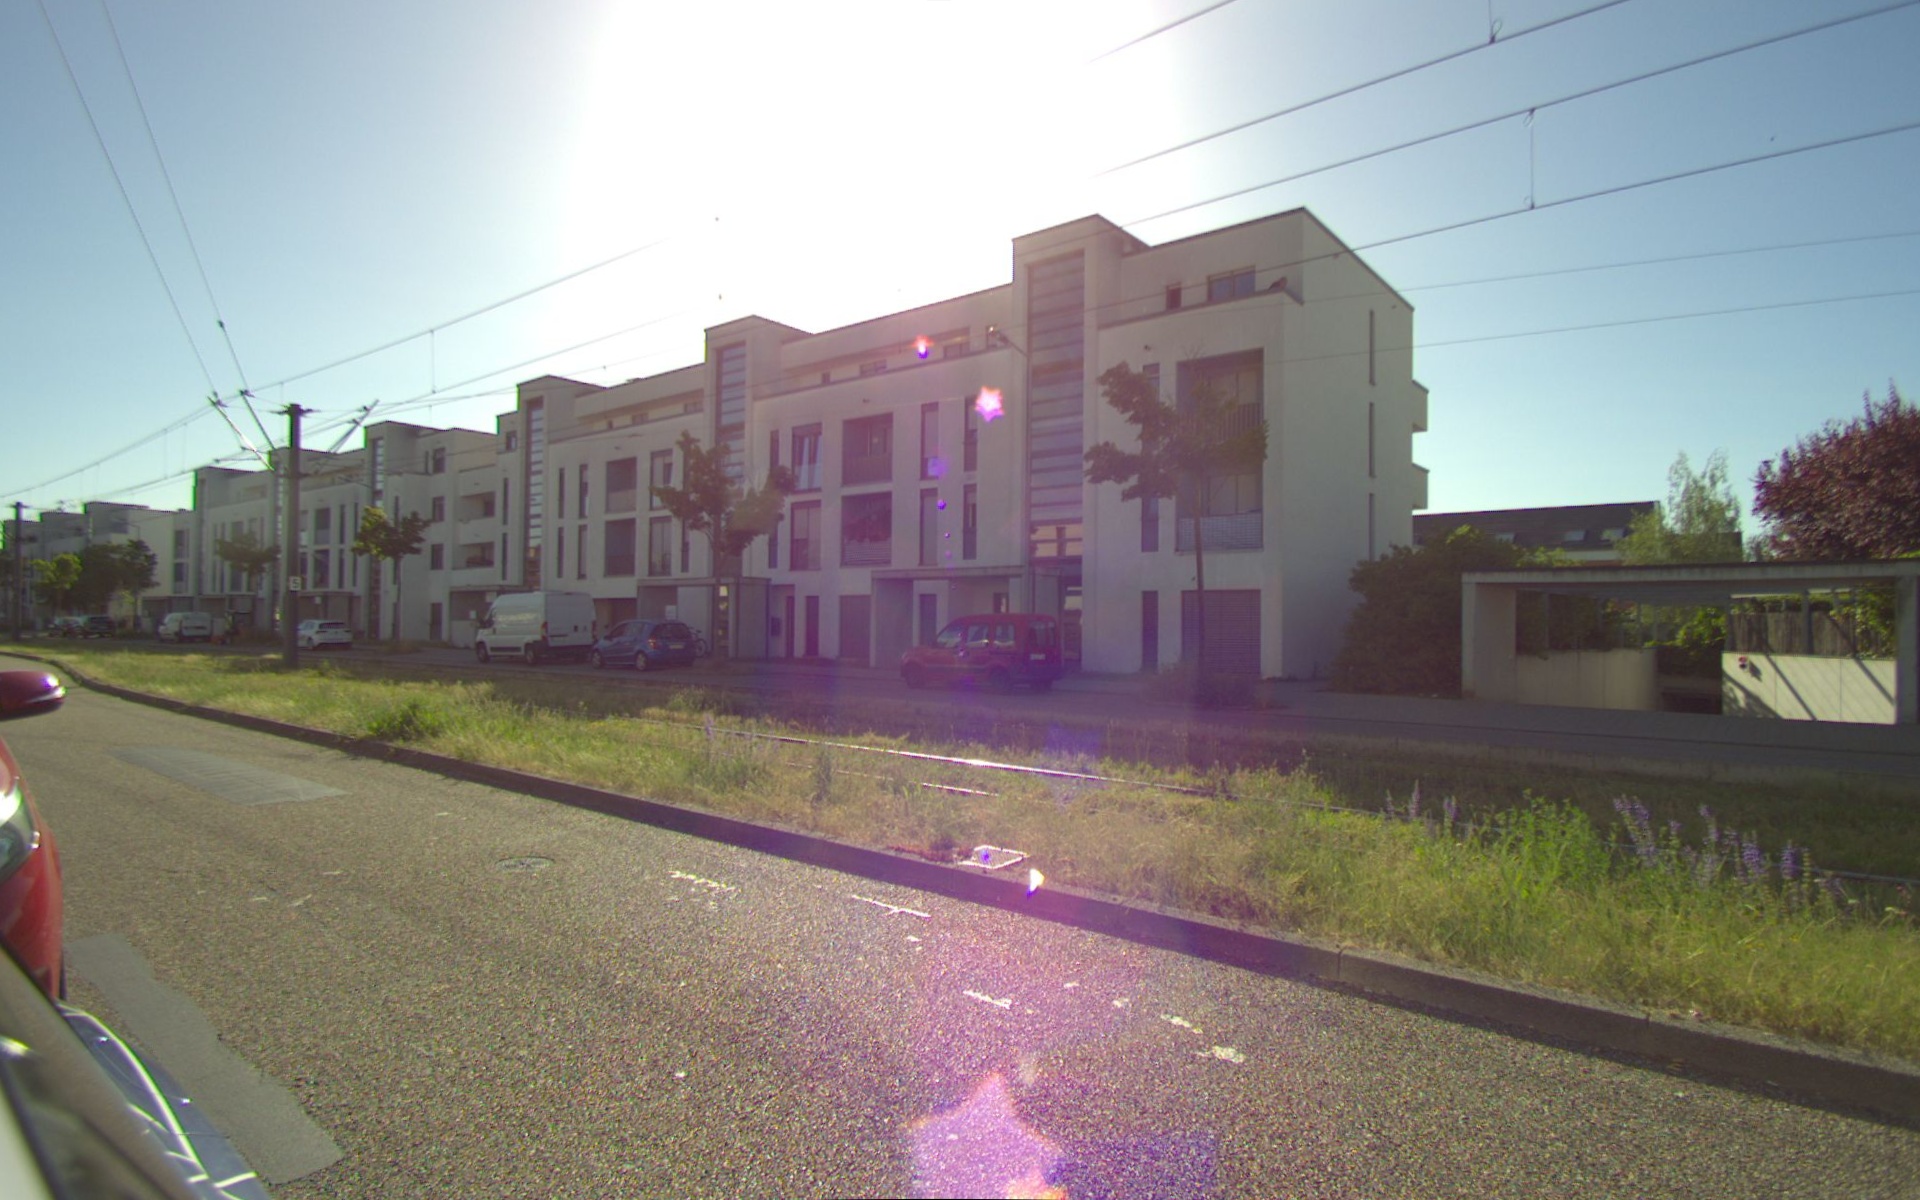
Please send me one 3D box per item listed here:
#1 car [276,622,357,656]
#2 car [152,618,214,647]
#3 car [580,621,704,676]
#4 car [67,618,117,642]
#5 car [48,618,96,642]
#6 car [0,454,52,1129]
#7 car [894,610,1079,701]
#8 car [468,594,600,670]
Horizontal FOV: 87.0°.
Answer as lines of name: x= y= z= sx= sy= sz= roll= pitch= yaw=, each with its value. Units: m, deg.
car: x=-31.130 y=1.842 z=48.905 sx=4.277 sy=1.517 sz=1.900 roll=-1 pitch=0 yaw=37
car: x=-47.348 y=1.963 z=61.633 sx=4.277 sy=1.693 sz=1.900 roll=-1 pitch=0 yaw=37
car: x=-9.996 y=1.454 z=31.743 sx=3.833 sy=1.556 sz=1.973 roll=-1 pitch=0 yaw=40
car: x=-62.969 y=2.164 z=73.415 sx=4.277 sy=1.693 sz=1.900 roll=-1 pitch=0 yaw=37
car: x=-67.513 y=2.254 z=76.940 sx=4.277 sy=1.693 sz=1.900 roll=-1 pitch=0 yaw=37
car: x=-4.884 y=0.557 z=3.667 sx=4.505 sy=1.868 sz=1.850 roll=-1 pitch=0 yaw=41
car: x=0.541 y=1.175 z=23.021 sx=3.895 sy=1.842 sz=1.972 roll=-1 pitch=0 yaw=43
car: x=-15.191 y=1.080 z=35.949 sx=5.193 sy=2.491 sz=2.197 roll=-1 pitch=0 yaw=40
